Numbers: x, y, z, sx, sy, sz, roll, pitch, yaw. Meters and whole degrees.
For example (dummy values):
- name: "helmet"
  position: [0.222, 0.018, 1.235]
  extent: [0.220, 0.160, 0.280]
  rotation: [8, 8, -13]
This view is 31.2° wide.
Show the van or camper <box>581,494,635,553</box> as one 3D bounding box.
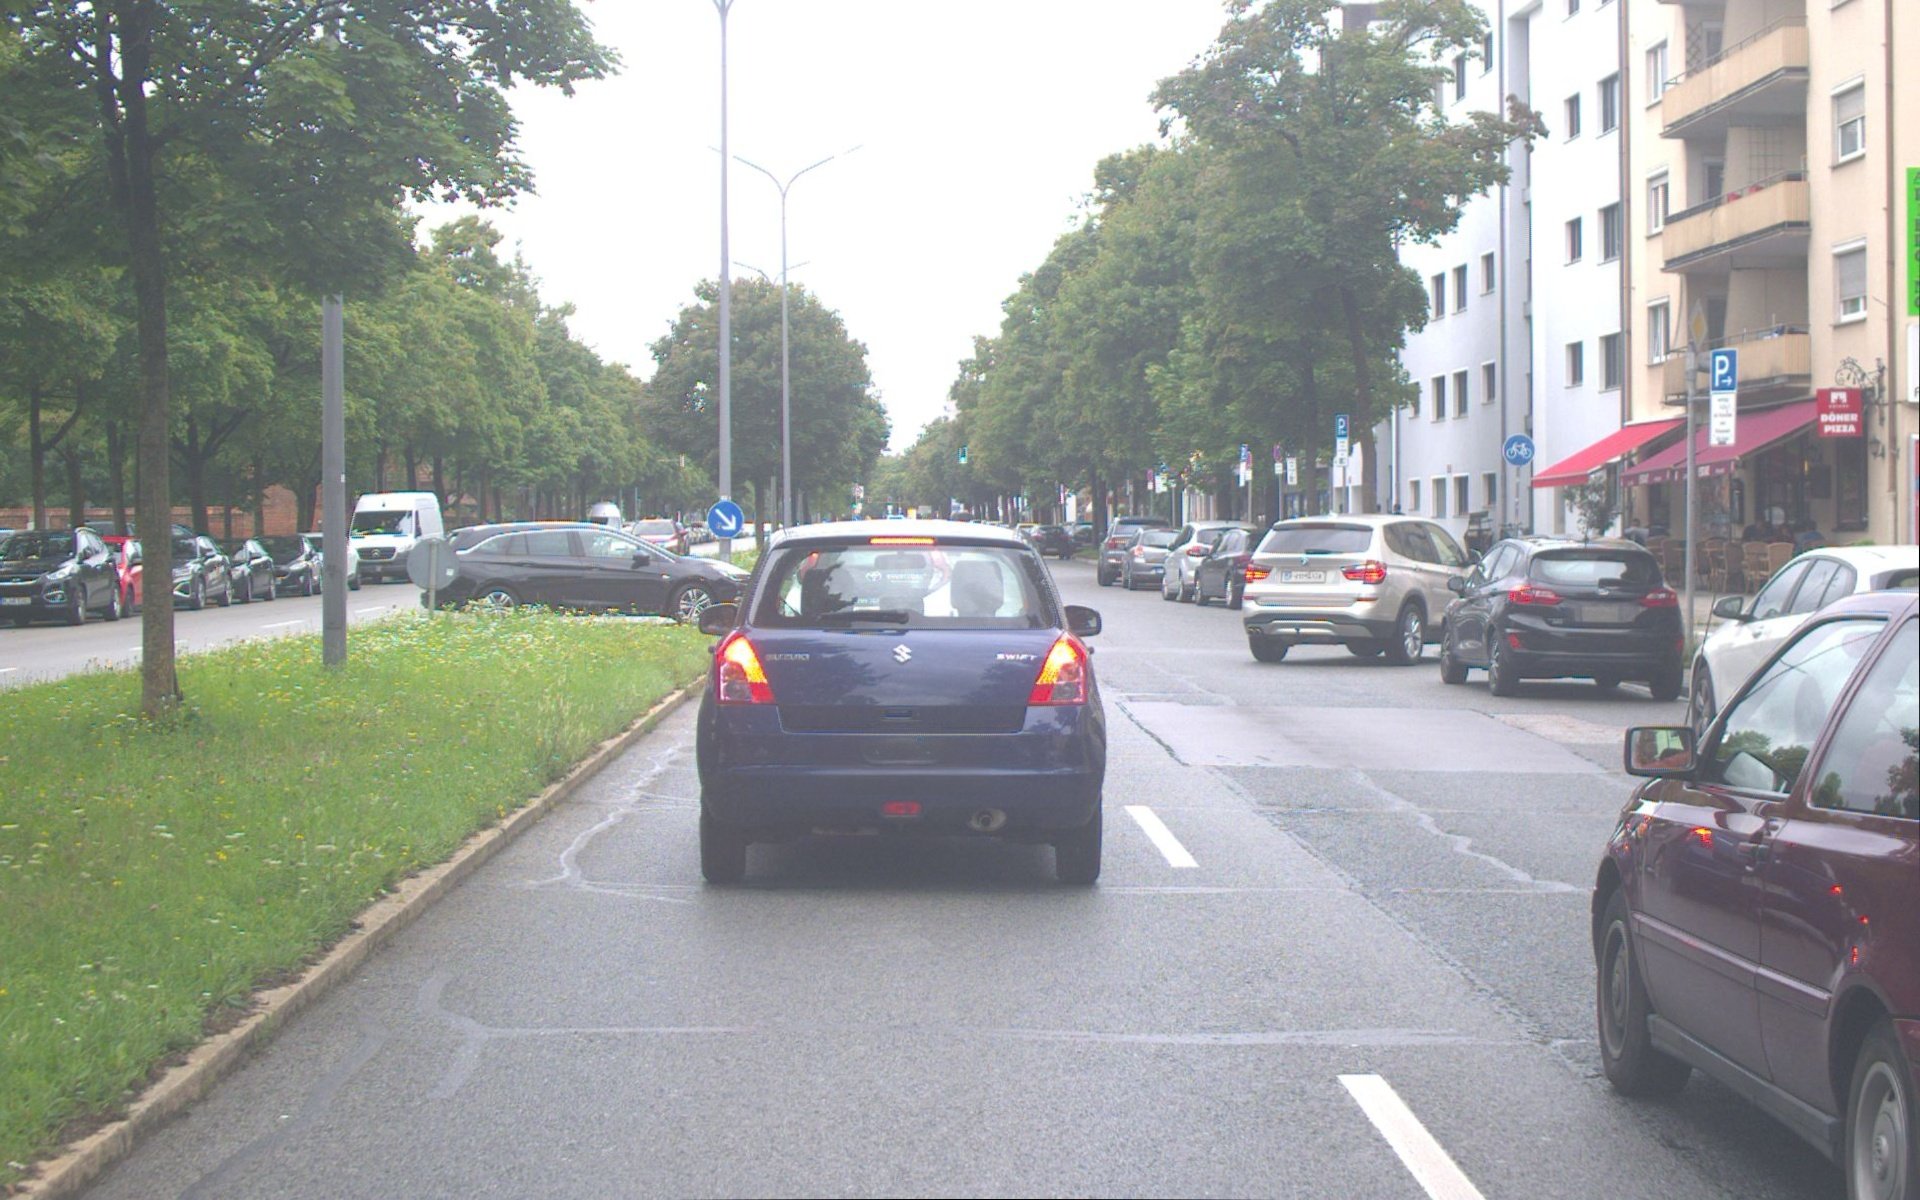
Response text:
- name: "van or camper"
  position: [-20.127, -4.375, 196.990]
  extent: [2.561, 3.284, 6.938]
  rotation: [1, 1, -2]

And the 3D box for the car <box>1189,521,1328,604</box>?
- name: "car"
  position: [5.396, -0.701, 62.535]
  extent: [1.865, 1.412, 4.225]
  rotation: [-1, 2, -4]

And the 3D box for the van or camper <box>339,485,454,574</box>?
- name: "van or camper"
  position: [-16.364, -2.065, 100.278]
  extent: [2.117, 2.473, 7.449]
  rotation: [1, 1, 0]

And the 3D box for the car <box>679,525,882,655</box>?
- name: "car"
  position: [-2.183, -0.159, 40.983]
  extent: [1.681, 1.458, 3.735]
  rotation: [0, 2, -15]

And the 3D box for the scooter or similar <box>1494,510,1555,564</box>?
- name: "scooter or similar"
  position: [13.805, -1.548, 84.123]
  extent: [1.033, 1.303, 2.755]
  rotation: [0, 1, 0]

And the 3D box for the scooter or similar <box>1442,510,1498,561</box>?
- name: "scooter or similar"
  position: [13.241, -1.681, 89.329]
  extent: [1.033, 1.303, 2.755]
  rotation: [0, 1, 0]

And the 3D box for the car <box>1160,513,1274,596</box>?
- name: "car"
  position: [5.025, -0.914, 67.678]
  extent: [1.791, 1.553, 4.225]
  rotation: [-1, 2, -2]

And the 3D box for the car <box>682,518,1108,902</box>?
- name: "car"
  position: [-0.321, 0.389, 15.532]
  extent: [1.682, 1.496, 3.919]
  rotation: [0, 2, -2]

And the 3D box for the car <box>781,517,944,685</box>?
- name: "car"
  position: [-0.912, -0.028, 31.903]
  extent: [1.444, 1.478, 3.107]
  rotation: [0, 2, -2]

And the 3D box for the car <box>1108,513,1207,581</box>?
- name: "car"
  position: [4.598, -1.258, 80.563]
  extent: [1.865, 1.512, 4.225]
  rotation: [-1, 2, -2]

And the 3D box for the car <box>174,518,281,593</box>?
- name: "car"
  position: [-15.824, -0.976, 74.399]
  extent: [1.590, 1.553, 3.879]
  rotation: [1, 1, -2]

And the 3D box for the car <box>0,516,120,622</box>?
- name: "car"
  position: [-15.583, -0.550, 58.529]
  extent: [1.716, 1.735, 3.879]
  rotation: [1, 1, -2]

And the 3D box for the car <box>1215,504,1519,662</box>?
- name: "car"
  position: [4.694, -0.224, 39.097]
  extent: [1.868, 1.655, 4.400]
  rotation: [2, 2, 29]

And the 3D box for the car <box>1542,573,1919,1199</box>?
- name: "car"
  position: [2.515, 0.674, 7.731]
  extent: [1.682, 1.379, 3.919]
  rotation: [1, 1, -1]

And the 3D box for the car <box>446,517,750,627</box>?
- name: "car"
  position: [-5.040, -0.409, 47.894]
  extent: [4.121, 1.463, 1.840]
  rotation: [-1, 2, -6]

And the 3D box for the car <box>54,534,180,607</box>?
- name: "car"
  position: [-15.718, -0.568, 64.223]
  extent: [1.590, 1.307, 3.381]
  rotation: [1, 1, -2]

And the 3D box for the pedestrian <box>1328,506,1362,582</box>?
- name: "pedestrian"
  position: [10.229, -1.495, 91.322]
  extent: [0.794, 2.007, 1.006]
  rotation: [0, 1, 0]

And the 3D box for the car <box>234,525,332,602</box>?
- name: "car"
  position: [-15.885, -0.874, 80.780]
  extent: [1.632, 1.735, 3.879]
  rotation: [1, 1, -2]

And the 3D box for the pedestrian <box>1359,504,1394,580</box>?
- name: "pedestrian"
  position: [11.062, -1.551, 91.271]
  extent: [0.794, 2.007, 1.006]
  rotation: [0, 1, 0]

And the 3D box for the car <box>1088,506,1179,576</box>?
- name: "car"
  position: [4.277, -1.482, 85.387]
  extent: [1.865, 1.677, 4.225]
  rotation: [-1, 2, -2]

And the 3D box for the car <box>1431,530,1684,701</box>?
- name: "car"
  position: [5.498, 0.102, 32.028]
  extent: [1.617, 1.460, 3.674]
  rotation: [2, 1, -1]

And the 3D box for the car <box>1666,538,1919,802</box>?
- name: "car"
  position: [5.792, 0.384, 21.654]
  extent: [1.682, 1.460, 4.138]
  rotation: [2, 1, -2]

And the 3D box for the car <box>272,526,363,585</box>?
- name: "car"
  position: [-16.064, -1.122, 86.111]
  extent: [1.632, 1.426, 3.879]
  rotation: [1, 1, -2]

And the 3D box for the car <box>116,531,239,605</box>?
- name: "car"
  position: [-15.684, -0.661, 69.055]
  extent: [1.667, 1.440, 3.879]
  rotation: [1, 1, -2]
